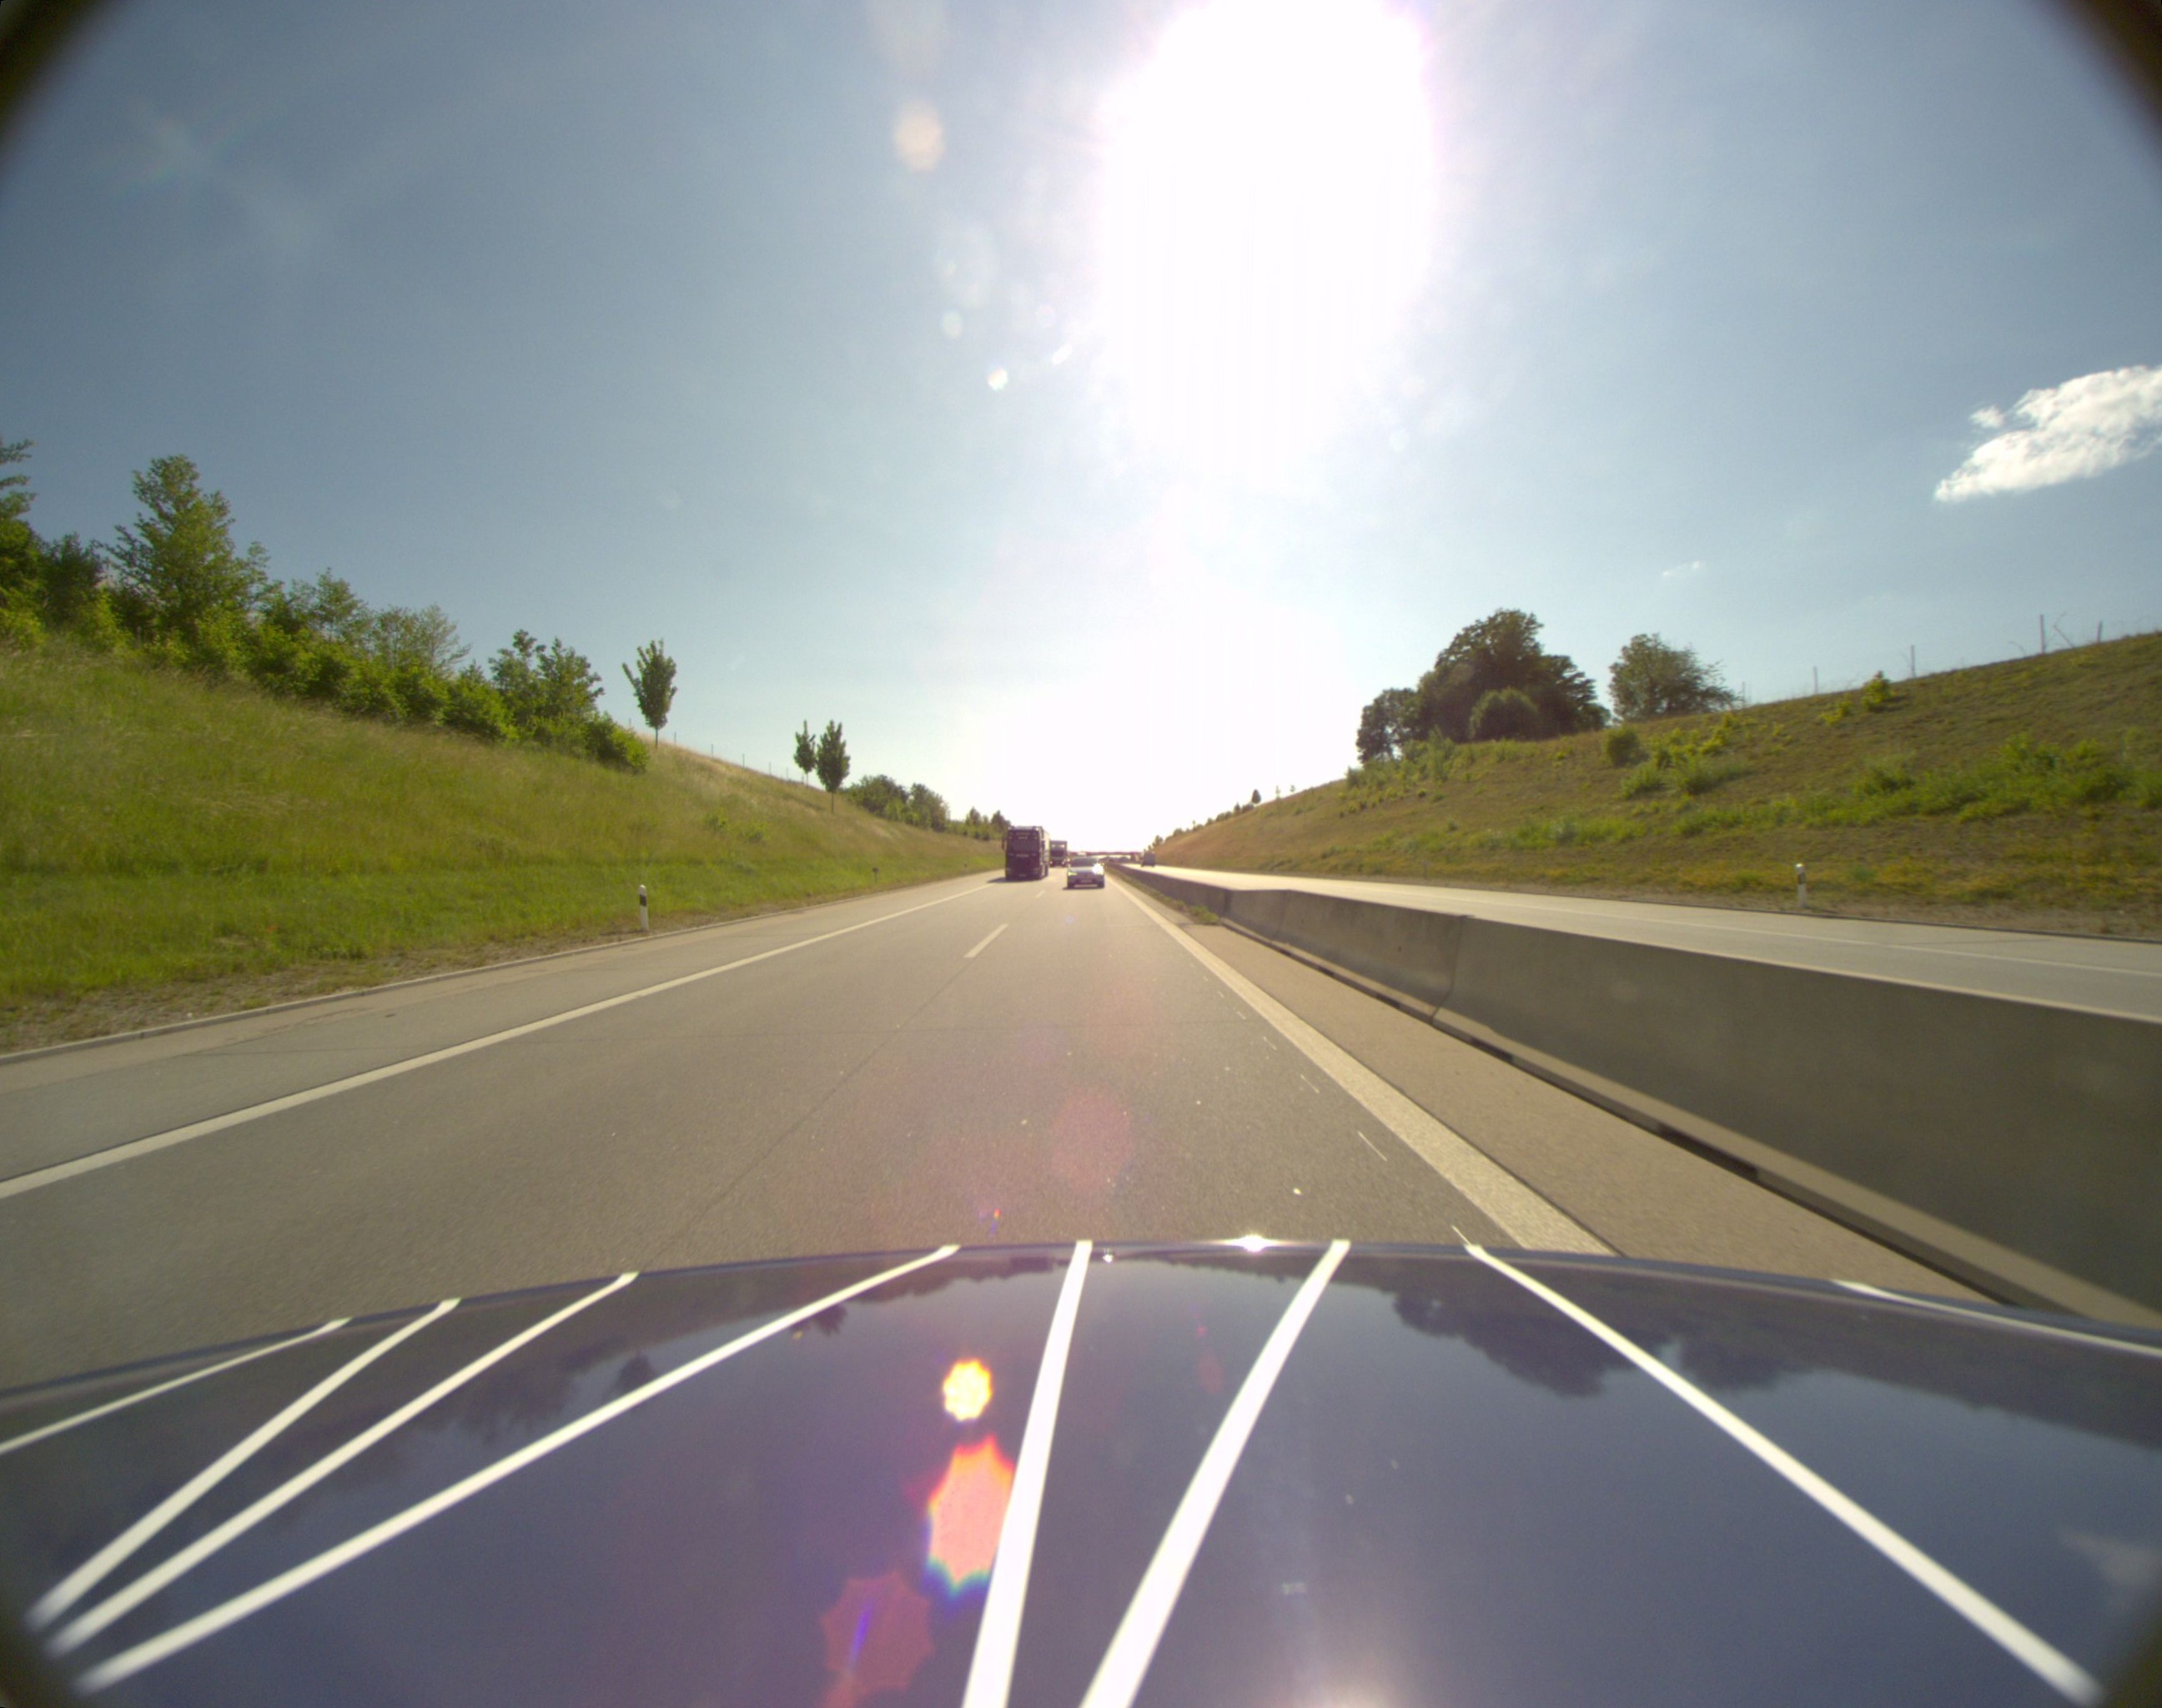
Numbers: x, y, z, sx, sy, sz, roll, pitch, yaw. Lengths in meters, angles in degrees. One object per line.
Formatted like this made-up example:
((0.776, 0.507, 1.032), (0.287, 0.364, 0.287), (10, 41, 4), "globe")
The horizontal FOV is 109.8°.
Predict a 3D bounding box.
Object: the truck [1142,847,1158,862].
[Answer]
((11.463, 0.049, 126.343), (1.998, 2.434, 5.667), (-1, 0, 0), "truck")

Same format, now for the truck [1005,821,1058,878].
((-3.557, -0.292, 58.140), (2.623, 3.795, 13.404), (-2, 0, 2), "truck")

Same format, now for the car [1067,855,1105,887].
((0.309, 0.833, 38.337), (1.795, 1.501, 3.635), (-1, 0, 2), "car")

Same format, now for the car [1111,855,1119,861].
((8.389, 0.960, 187.236), (1.778, 1.440, 4.183), (0, 0, -1), "car")

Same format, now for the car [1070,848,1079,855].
((-1.417, -0.620, 164.562), (1.707, 1.433, 3.634), (1, 0, -4), "car")

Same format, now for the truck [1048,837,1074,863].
((-2.917, -0.602, 115.695), (3.024, 3.795, 13.404), (1, 0, 2), "truck")
